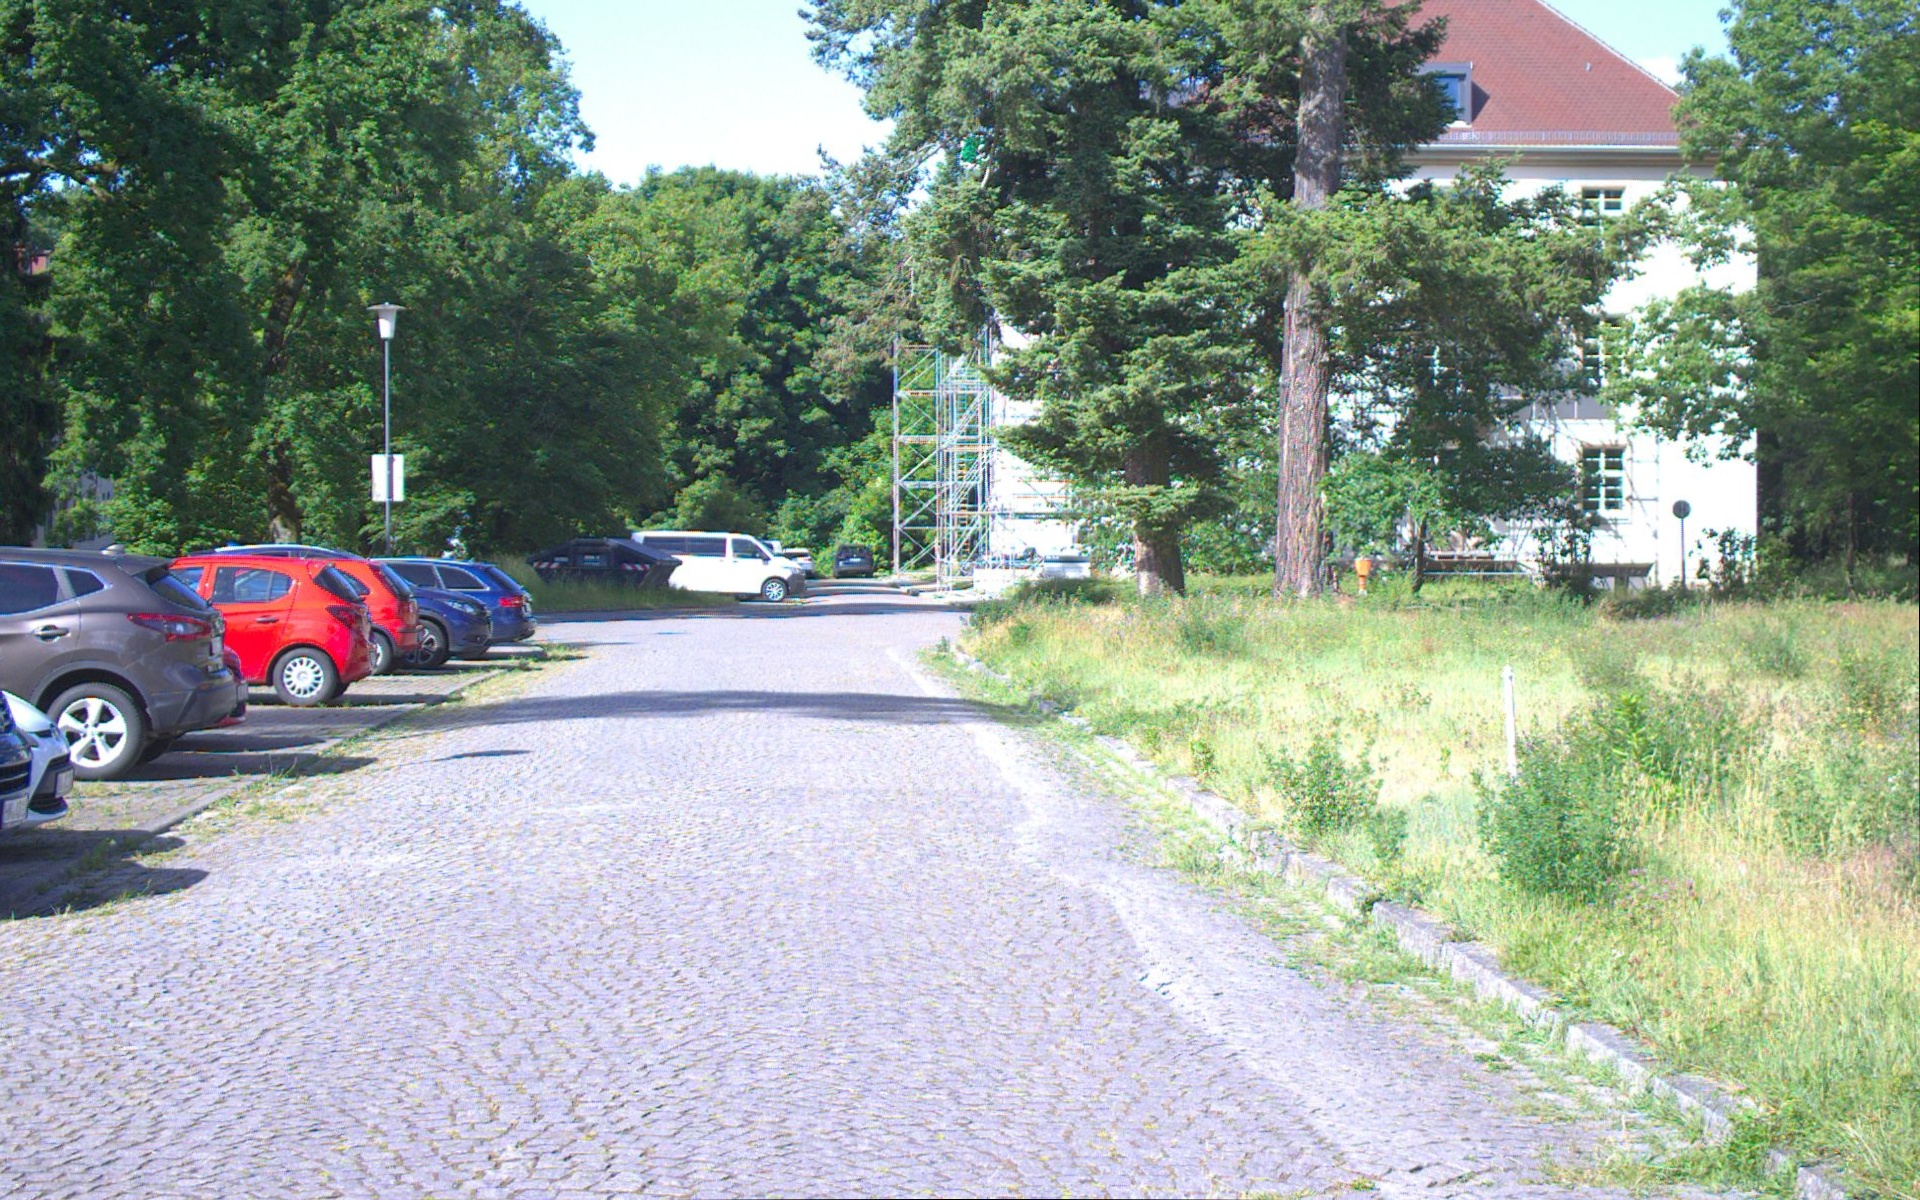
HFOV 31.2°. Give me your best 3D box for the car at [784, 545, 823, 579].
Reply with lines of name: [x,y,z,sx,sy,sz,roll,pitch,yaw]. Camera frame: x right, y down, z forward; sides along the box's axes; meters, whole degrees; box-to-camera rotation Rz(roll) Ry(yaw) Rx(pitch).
car: [-7.498,-1.836,164.675,1.812,1.574,4.135,-1,1,-3]

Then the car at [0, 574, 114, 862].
car: [-6.531,0.550,18.060,3.815,1.435,1.683,1,1,-6]

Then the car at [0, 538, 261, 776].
car: [-7.098,0.348,24.374,3.952,1.562,1.974,1,2,-4]

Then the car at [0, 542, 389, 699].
car: [-7.839,0.187,34.676,3.922,1.456,1.842,1,1,-4]

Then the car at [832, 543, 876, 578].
car: [-5.111,-1.908,165.078,1.970,1.662,4.087,-1,1,-3]

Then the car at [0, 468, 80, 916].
car: [-6.568,0.339,15.446,4.717,1.961,2.006,1,1,-3]

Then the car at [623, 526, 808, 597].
car: [-6.994,-1.097,98.618,5.234,2.009,1.950,0,1,-3]

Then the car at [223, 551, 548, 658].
car: [-8.250,0.053,49.642,4.359,1.440,1.921,1,1,0]

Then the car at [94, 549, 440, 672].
car: [-8.526,0.119,42.543,3.923,1.428,1.842,1,1,-1]

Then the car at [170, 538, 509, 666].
car: [-8.064,0.010,44.960,4.134,1.574,1.885,1,1,-3]

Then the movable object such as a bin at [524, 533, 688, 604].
movable object such as a bin: [-8.786,-0.787,85.433,3.568,1.738,2.023,0,1,16]

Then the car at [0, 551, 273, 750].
car: [-7.529,0.350,27.090,3.922,1.444,1.867,1,1,-4]
